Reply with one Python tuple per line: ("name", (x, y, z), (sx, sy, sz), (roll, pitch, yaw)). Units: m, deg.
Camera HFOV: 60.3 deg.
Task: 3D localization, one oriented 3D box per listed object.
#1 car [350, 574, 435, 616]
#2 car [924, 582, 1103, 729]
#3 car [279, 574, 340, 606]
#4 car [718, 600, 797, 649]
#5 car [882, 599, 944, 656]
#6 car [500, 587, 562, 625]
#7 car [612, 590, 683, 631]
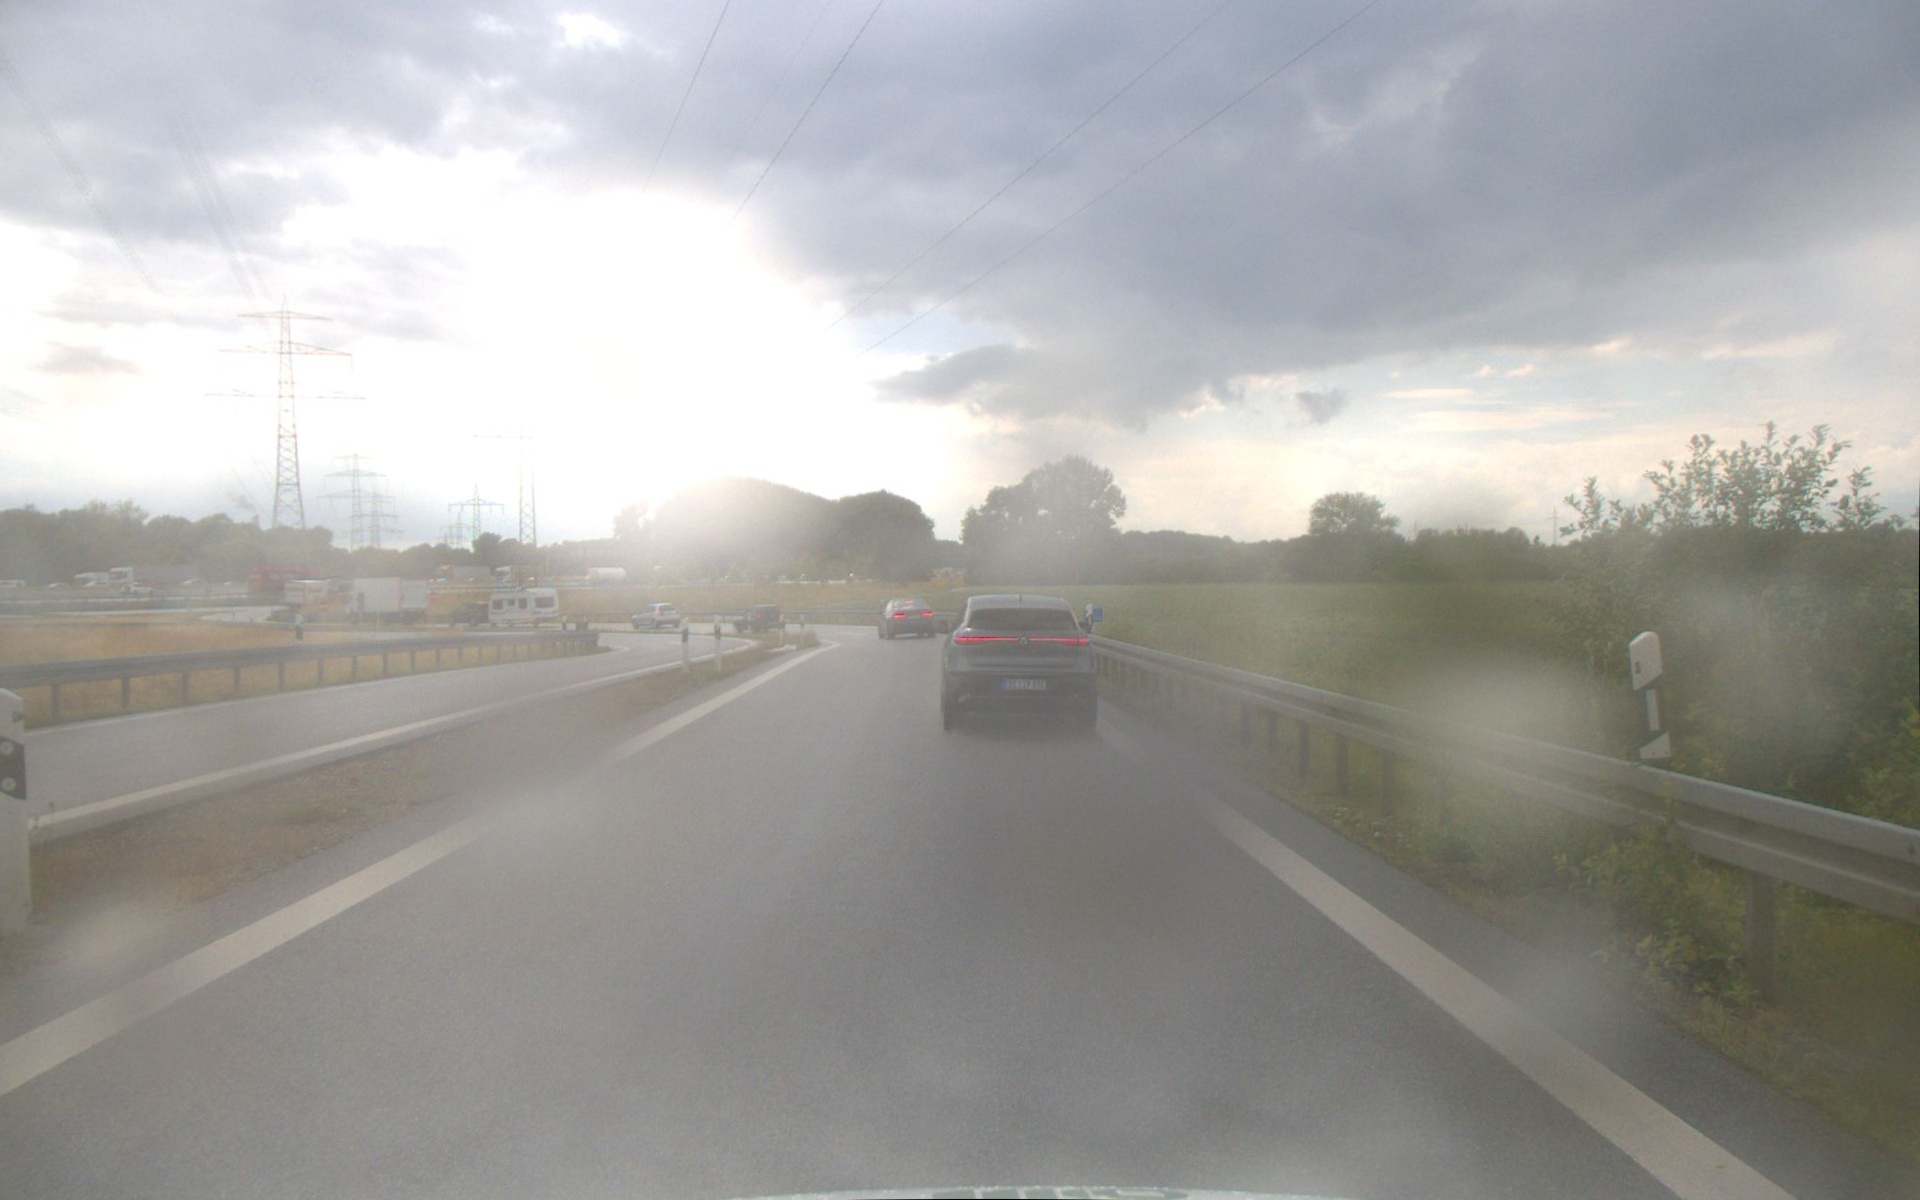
("car", (-44.386, -0.443, 129.238), (7.076, 3.002, 3.130), (2, 3, 40))
("car", (0.628, 0.586, 20.342), (1.952, 1.594, 4.150), (1, 1, 1))
("car", (-77.650, -1.246, 197.693), (3.312, 3.673, 9.048), (-1, 1, 3))
("car", (-11.026, 1.295, 89.846), (2.329, 2.346, 5.073), (-2, 3, -32))
("car", (-1.920, 1.044, 65.563), (2.080, 2.053, 5.528), (0, 1, -5))
("car", (-29.968, 0.377, 115.511), (2.336, 2.346, 5.058), (-2, 3, -39))
("car", (-19.769, 0.626, 104.431), (2.335, 2.346, 5.060), (-2, 3, -38))
